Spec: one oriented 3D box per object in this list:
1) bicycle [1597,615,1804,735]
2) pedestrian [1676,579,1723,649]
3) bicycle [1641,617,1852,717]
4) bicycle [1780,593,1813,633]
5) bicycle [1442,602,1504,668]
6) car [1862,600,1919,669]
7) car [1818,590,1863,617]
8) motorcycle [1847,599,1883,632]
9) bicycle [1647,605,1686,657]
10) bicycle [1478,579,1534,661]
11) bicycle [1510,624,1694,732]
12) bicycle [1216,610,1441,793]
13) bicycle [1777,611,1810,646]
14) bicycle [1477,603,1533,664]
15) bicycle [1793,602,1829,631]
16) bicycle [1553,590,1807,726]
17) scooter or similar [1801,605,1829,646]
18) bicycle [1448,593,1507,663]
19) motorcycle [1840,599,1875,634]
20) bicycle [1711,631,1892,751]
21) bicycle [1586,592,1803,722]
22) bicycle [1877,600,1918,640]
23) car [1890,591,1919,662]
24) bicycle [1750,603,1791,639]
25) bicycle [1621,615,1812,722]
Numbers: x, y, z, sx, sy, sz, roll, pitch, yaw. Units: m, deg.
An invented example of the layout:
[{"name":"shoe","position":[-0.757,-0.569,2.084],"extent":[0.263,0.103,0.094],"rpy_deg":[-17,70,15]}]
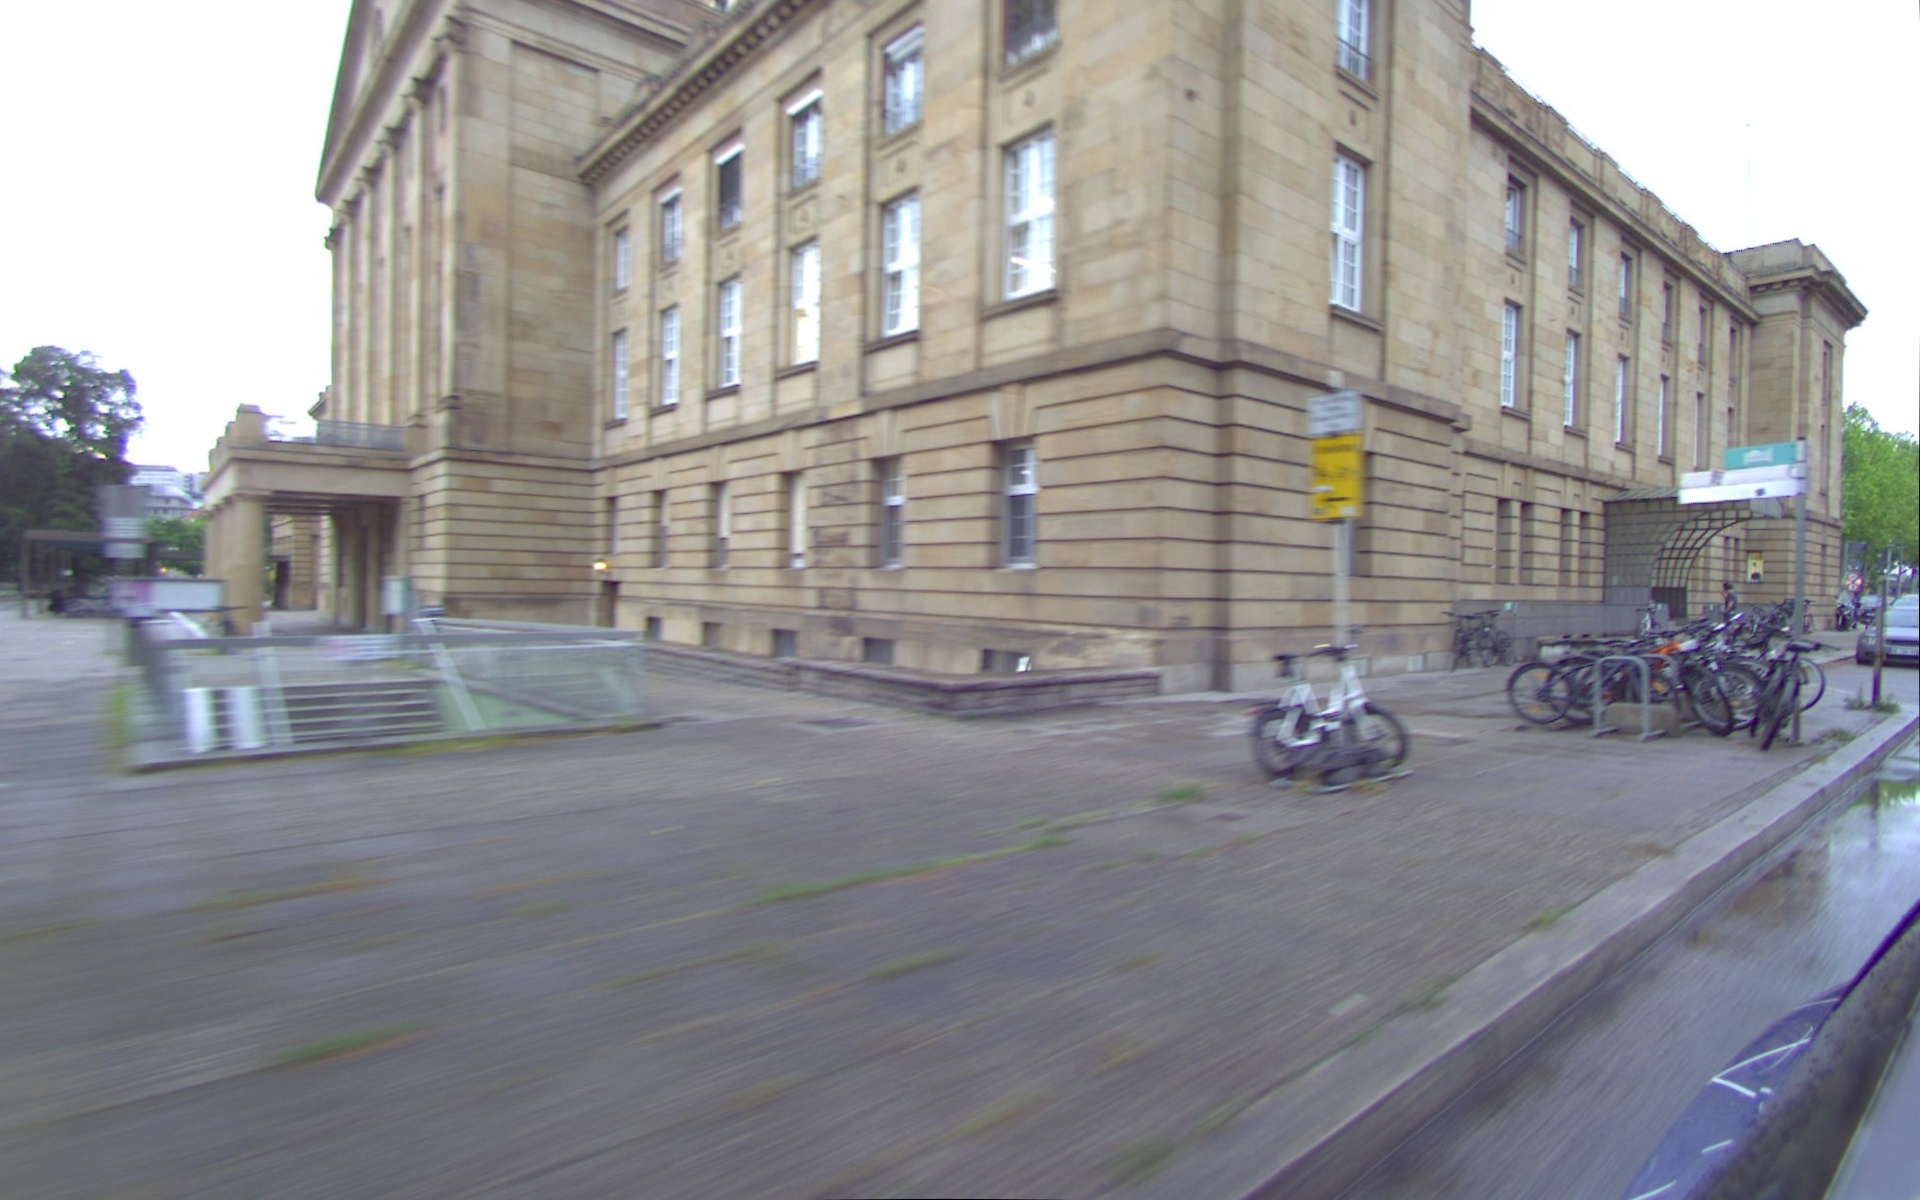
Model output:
[{"name":"bicycle","position":[7.823,0.745,10.761],"extent":[0.590,1.137,1.683],"rpy_deg":[1,0,-38]},{"name":"pedestrian","position":[19.905,0.365,27.247],"extent":[0.631,1.799,0.797],"rpy_deg":[0,3,-41]},{"name":"bicycle","position":[9.711,0.783,12.555],"extent":[0.747,1.073,1.987],"rpy_deg":[0,1,-43]},{"name":"bicycle","position":[28.449,0.418,34.403],"extent":[0.730,1.284,1.731],"rpy_deg":[2,2,44]},{"name":"bicycle","position":[9.190,0.600,18.116],"extent":[1.759,1.093,0.352],"rpy_deg":[-1,3,-42]},{"name":"car","position":[22.802,0.776,23.803],"extent":[3.638,1.496,1.935],"rpy_deg":[-1,1,-41]},{"name":"car","position":[54.168,0.190,62.228],"extent":[2.967,1.556,1.585],"rpy_deg":[-1,2,-39]},{"name":"motorcycle","position":[37.090,0.617,41.471],"extent":[1.766,1.315,0.809],"rpy_deg":[0,1,-37]},{"name":"bicycle","position":[17.734,0.754,25.400],"extent":[1.663,1.230,0.464],"rpy_deg":[-1,1,-43]},{"name":"bicycle","position":[10.562,0.371,19.568],"extent":[1.573,1.535,0.454],"rpy_deg":[0,-1,-43]},{"name":"bicycle","position":[6.825,0.793,10.825],"extent":[0.515,1.007,1.593],"rpy_deg":[0,0,-38]},{"name":"bicycle","position":[2.859,0.712,7.773],"extent":[1.868,1.212,0.607],"rpy_deg":[0,3,-34]},{"name":"bicycle","position":[27.191,0.909,33.013],"extent":[0.712,1.064,1.713],"rpy_deg":[0,1,44]},{"name":"bicycle","position":[10.351,0.616,19.205],"extent":[1.758,1.094,0.352],"rpy_deg":[-1,0,-42]},{"name":"bicycle","position":[31.681,0.604,37.674],"extent":[1.736,1.063,0.420],"rpy_deg":[0,0,-28]},{"name":"bicycle","position":[7.867,0.568,11.173],"extent":[0.639,1.353,2.196],"rpy_deg":[0,0,-38]},{"name":"scooter or similar","position":[31.341,0.921,37.091],"extent":[1.244,1.434,0.414],"rpy_deg":[0,5,-37]},{"name":"bicycle","position":[9.672,0.507,18.886],"extent":[1.573,1.267,0.454],"rpy_deg":[0,-1,-43]},{"name":"motorcycle","position":[35.513,0.630,40.044],"extent":[2.095,1.342,0.669],"rpy_deg":[-1,1,-38]},{"name":"bicycle","position":[7.771,0.801,9.342],"extent":[1.603,0.980,0.672],"rpy_deg":[0,0,-26]},{"name":"bicycle","position":[8.339,0.589,11.570],"extent":[0.639,1.349,1.910],"rpy_deg":[0,0,-38]},{"name":"bicycle","position":[30.825,0.644,33.298],"extent":[0.774,1.233,1.939],"rpy_deg":[3,2,38]},{"name":"car","position":[26.618,0.670,27.060],"extent":[4.113,1.803,1.998],"rpy_deg":[-1,1,-39]},{"name":"bicycle","position":[24.981,0.620,31.183],"extent":[1.726,1.051,0.585],"rpy_deg":[-1,1,-38]},{"name":"bicycle","position":[8.740,0.752,11.750],"extent":[0.639,1.104,1.683],"rpy_deg":[0,0,-38]}]
